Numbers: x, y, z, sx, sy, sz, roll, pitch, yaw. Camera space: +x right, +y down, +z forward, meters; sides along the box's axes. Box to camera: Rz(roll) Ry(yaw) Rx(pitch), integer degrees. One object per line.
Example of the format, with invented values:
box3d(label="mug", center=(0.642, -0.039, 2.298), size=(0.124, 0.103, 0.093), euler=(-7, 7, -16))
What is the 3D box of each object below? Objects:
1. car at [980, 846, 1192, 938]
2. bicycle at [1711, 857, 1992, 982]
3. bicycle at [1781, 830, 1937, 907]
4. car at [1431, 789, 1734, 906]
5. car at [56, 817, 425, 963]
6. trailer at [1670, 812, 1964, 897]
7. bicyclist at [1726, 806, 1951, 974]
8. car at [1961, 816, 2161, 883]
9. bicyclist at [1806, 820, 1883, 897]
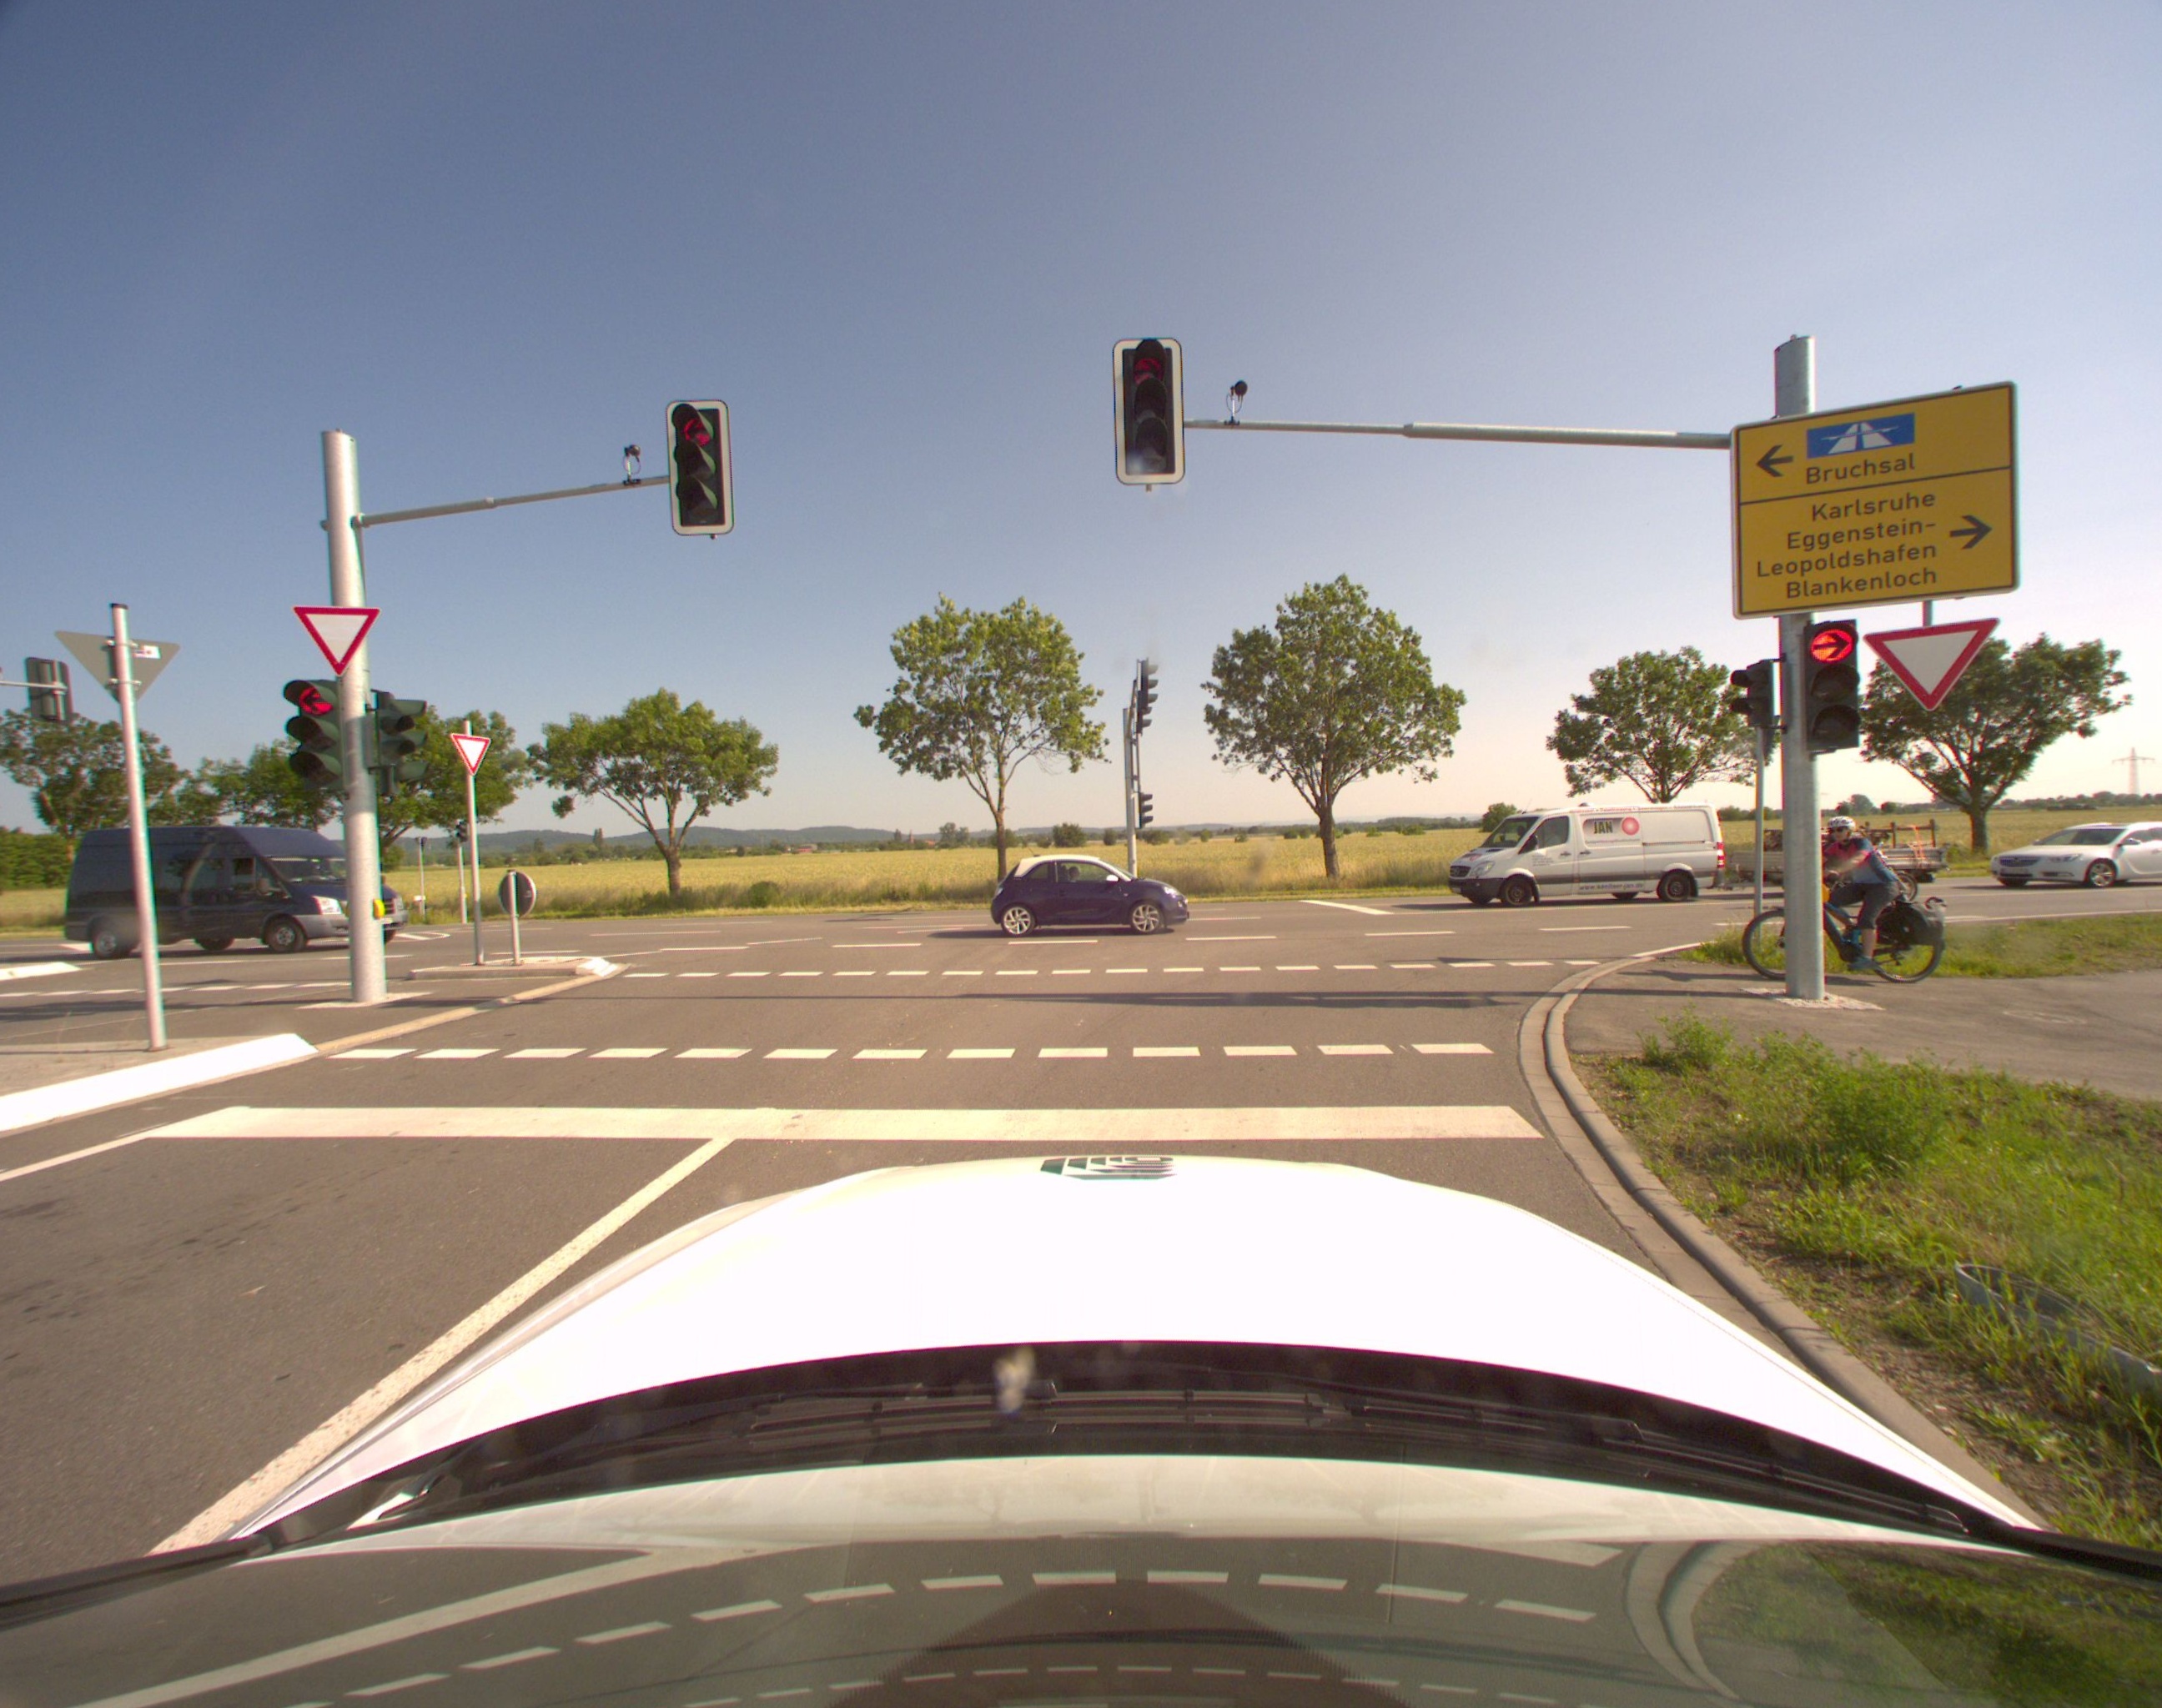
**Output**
box3d(label="car", center=(0.133, 0.666, 15.358), size=(3.712, 1.457, 1.730), euler=(-3, 1, 2))
box3d(label="bicycle", center=(7.995, 0.649, 8.524), size=(2.151, 1.186, 0.889), euler=(-1, -1, -3))
box3d(label="bicycle", center=(15.510, 0.282, 16.256), size=(2.486, 1.397, 0.731), euler=(-2, -1, -4))
box3d(label="car", center=(11.730, -0.141, 19.343), size=(5.938, 2.493, 2.000), euler=(-1, -1, -1))
box3d(label="car", center=(-16.925, 0.703, 16.563), size=(5.702, 2.622, 2.037), euler=(-2, 0, 6))
box3d(label="trailer", center=(17.396, 0.018, 19.432), size=(5.244, 1.753, 1.953), euler=(-2, 0, -1))
box3d(label="bicyclist", center=(7.850, 0.335, 8.517), size=(1.276, 1.601, 1.164), euler=(-1, 1, -3))
box3d(label="car", center=(24.761, -0.107, 19.760), size=(4.858, 1.510, 1.998), euler=(0, -1, -3))
box3d(label="bicyclist", center=(15.194, 0.089, 16.230), size=(0.806, 1.489, 0.757), euler=(0, -1, -2))
